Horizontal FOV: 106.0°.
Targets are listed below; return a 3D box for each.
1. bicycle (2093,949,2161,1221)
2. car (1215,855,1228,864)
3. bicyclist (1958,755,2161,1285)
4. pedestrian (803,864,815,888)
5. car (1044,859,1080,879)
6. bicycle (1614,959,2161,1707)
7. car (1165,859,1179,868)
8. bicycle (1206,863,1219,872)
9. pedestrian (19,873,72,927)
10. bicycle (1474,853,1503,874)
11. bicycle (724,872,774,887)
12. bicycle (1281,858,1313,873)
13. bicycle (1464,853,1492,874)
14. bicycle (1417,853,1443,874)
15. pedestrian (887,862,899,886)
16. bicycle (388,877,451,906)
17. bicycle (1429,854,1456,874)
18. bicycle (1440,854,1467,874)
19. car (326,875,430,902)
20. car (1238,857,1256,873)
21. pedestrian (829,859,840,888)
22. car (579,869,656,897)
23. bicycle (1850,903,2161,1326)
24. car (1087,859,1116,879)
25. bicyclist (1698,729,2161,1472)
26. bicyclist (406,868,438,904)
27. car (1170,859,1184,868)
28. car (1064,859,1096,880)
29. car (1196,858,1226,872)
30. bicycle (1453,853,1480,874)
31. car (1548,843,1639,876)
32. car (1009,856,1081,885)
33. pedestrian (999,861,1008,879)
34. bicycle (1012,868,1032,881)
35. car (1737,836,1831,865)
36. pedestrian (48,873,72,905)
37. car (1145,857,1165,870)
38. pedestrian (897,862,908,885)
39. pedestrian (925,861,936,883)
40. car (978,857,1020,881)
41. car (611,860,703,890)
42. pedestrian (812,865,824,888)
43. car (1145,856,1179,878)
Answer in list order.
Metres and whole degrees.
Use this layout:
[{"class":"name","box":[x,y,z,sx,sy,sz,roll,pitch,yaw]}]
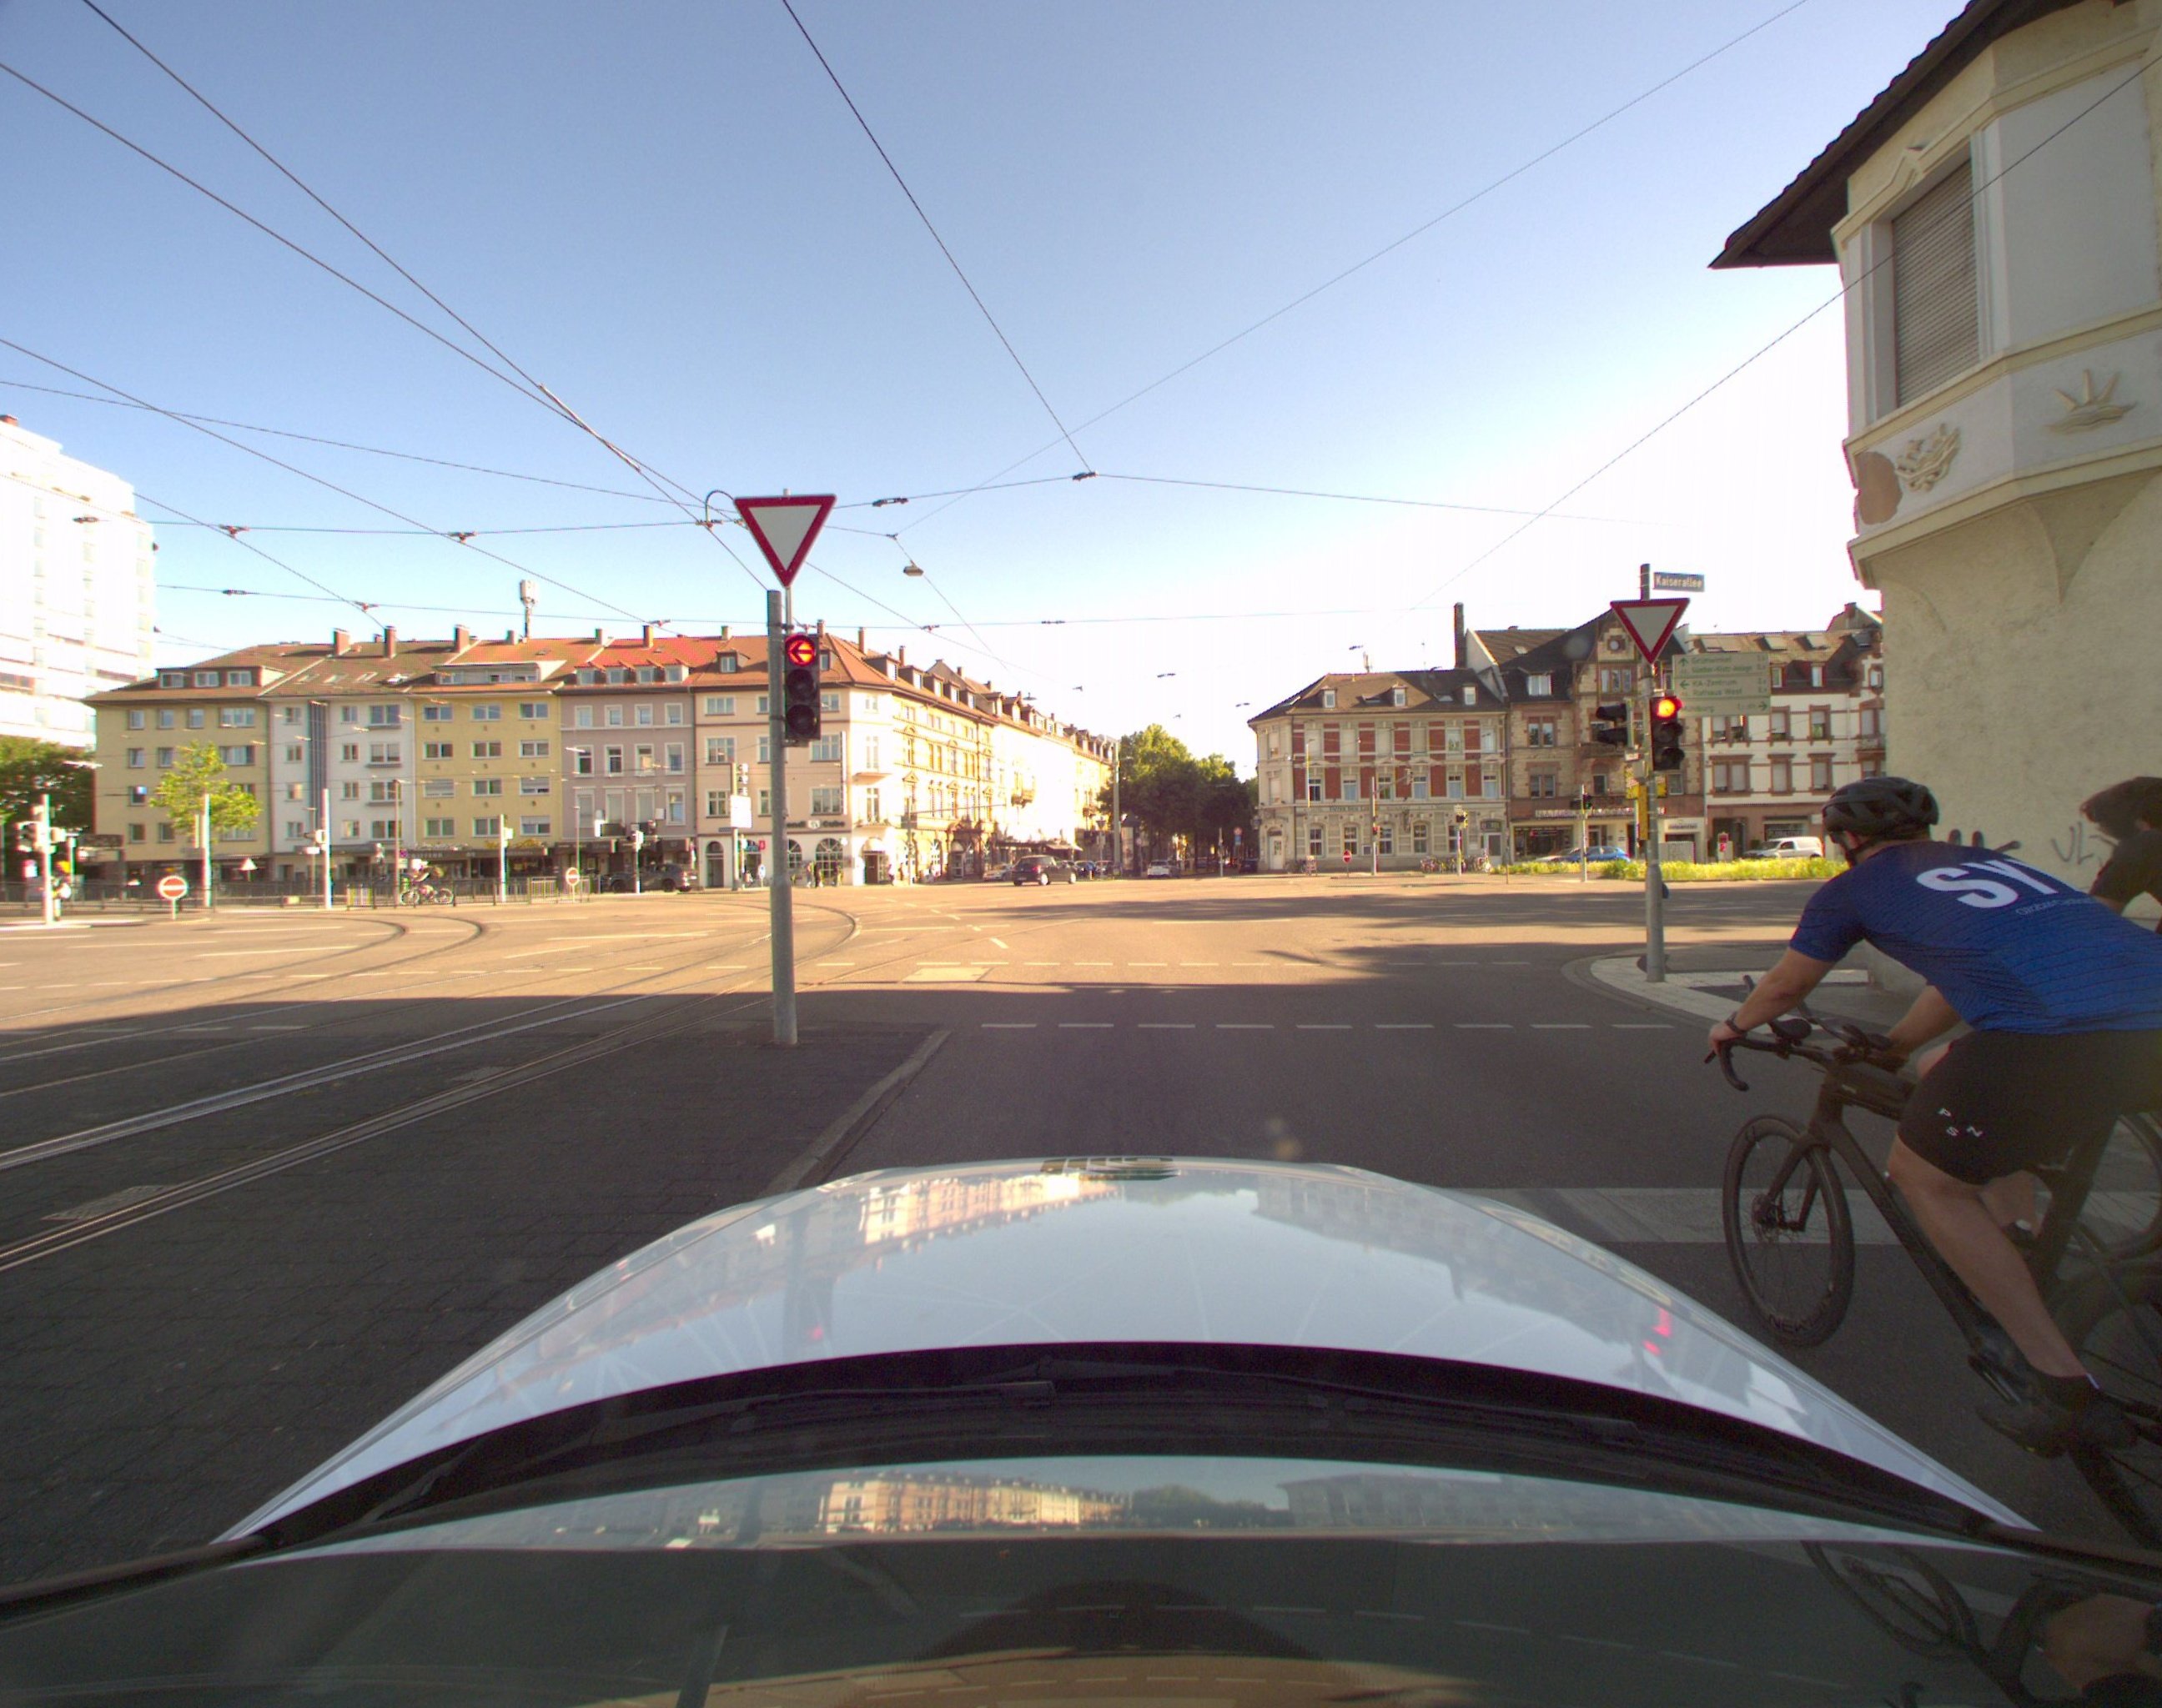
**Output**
[{"class":"bicycle","box":[4.482,0.900,2.478,0.647,1.031,1.772,0,-1,3]},{"class":"car","box":[23.231,0.929,134.198,1.546,1.513,3.673,-1,-1,19]},{"class":"bicyclist","box":[3.672,0.501,2.585,0.803,1.606,0.883,0,-1,0]},{"class":"pedestrian","box":[-18.017,1.465,53.915,0.631,1.612,0.465,0,-1,-2]},{"class":"car","box":[-1.509,1.236,67.713,1.979,1.618,4.015,-1,-1,14]},{"class":"bicycle","box":[2.212,0.923,2.128,0.623,1.085,1.705,0,-1,5]},{"class":"car","box":[14.788,1.500,132.155,1.546,1.513,3.673,-1,-1,19]},{"class":"bicycle","box":[15.990,1.658,98.864,0.630,1.085,1.687,0,-1,-28]},{"class":"pedestrian","box":[-31.621,1.393,24.874,0.697,1.634,0.681,0,-1,-3]},{"class":"bicycle","box":[26.193,0.608,52.355,0.626,1.287,2.663,0,-1,3]},{"class":"bicycle","box":[-23.429,1.791,57.466,3.118,0.980,1.002,0,-1,1]},{"class":"bicycle","box":[15.077,0.803,56.891,2.040,0.998,0.631,-1,-1,4]},{"class":"bicycle","box":[25.498,0.607,52.384,0.626,1.287,2.663,0,-1,3]},{"class":"bicycle","box":[22.455,0.604,52.472,0.689,1.287,2.663,0,-1,3]},{"class":"pedestrian","box":[-12.935,1.340,56.041,0.631,1.634,0.700,0,-1,-2]},{"class":"bicycle","box":[-25.665,1.431,31.645,0.567,1.070,1.806,-1,-1,32]},{"class":"bicycle","box":[23.257,0.632,52.423,0.689,1.287,2.663,0,-1,3]},{"class":"bicycle","box":[23.980,0.626,52.416,0.626,1.287,2.663,0,-1,3]},{"class":"car","box":[-39.113,1.907,45.399,3.979,1.376,1.997,0,-1,-4]},{"class":"car","box":[16.814,1.146,82.363,1.680,1.565,3.855,-1,-1,14]},{"class":"pedestrian","box":[-16.385,1.277,54.139,0.631,1.881,0.465,0,-1,-2]},{"class":"car","box":[-30.593,1.919,53.817,3.962,1.670,2.006,-2,0,10]},{"class":"bicycle","box":[3.676,0.824,2.639,0.752,1.236,1.702,0,-1,0]},{"class":"car","box":[2.008,1.407,79.700,1.979,1.904,4.015,-1,-1,14]},{"class":"bicyclist","box":[2.195,0.488,2.069,0.635,1.494,0.885,0,1,6]},{"class":"bicyclist","box":[-25.647,1.226,31.694,0.553,1.366,0.808,-1,-1,33]},{"class":"car","box":[16.069,1.592,136.157,1.546,1.513,3.673,-1,-1,19]},{"class":"car","box":[-0.063,1.374,73.774,1.979,1.904,4.015,-1,-1,14]},{"class":"car","box":[18.335,1.573,114.725,3.955,1.904,2.009,-1,-1,17]},{"class":"bicycle","box":[24.770,0.621,52.388,0.626,1.287,2.663,0,-1,3]},{"class":"car","box":[28.339,0.298,45.139,3.769,1.778,2.000,0,-1,1]},{"class":"car","box":[-1.766,0.805,41.018,1.737,1.362,3.880,-1,-1,31]},{"class":"pedestrian","box":[-7.055,1.426,74.091,0.539,1.631,0.709,-1,-1,15]},{"class":"bicycle","box":[-4.736,1.639,65.558,0.756,1.008,2.406,-1,-1,16]},{"class":"car","box":[45.307,-0.223,52.569,4.349,1.778,2.000,0,-1,1]},{"class":"pedestrian","box":[-52.828,1.820,42.143,0.523,1.628,0.577,0,-1,0]},{"class":"car","box":[11.184,1.444,122.734,1.977,1.904,4.019,-1,-1,19]},{"class":"pedestrian","box":[-12.582,1.350,57.528,0.631,1.634,0.700,0,-1,-2]},{"class":"pedestrian","box":[-11.469,1.381,62.155,0.539,1.631,0.709,-1,-1,15]},{"class":"car","box":[-6.766,1.218,67.479,1.977,1.904,4.019,-1,-1,19]},{"class":"car","box":[-23.729,1.152,45.686,4.151,1.618,1.954,0,-1,1]},{"class":"pedestrian","box":[-17.276,1.483,53.466,0.631,1.477,0.465,0,-1,-2]},{"class":"car","box":[6.065,0.945,60.460,1.758,1.530,4.018,-1,-1,17]}]
